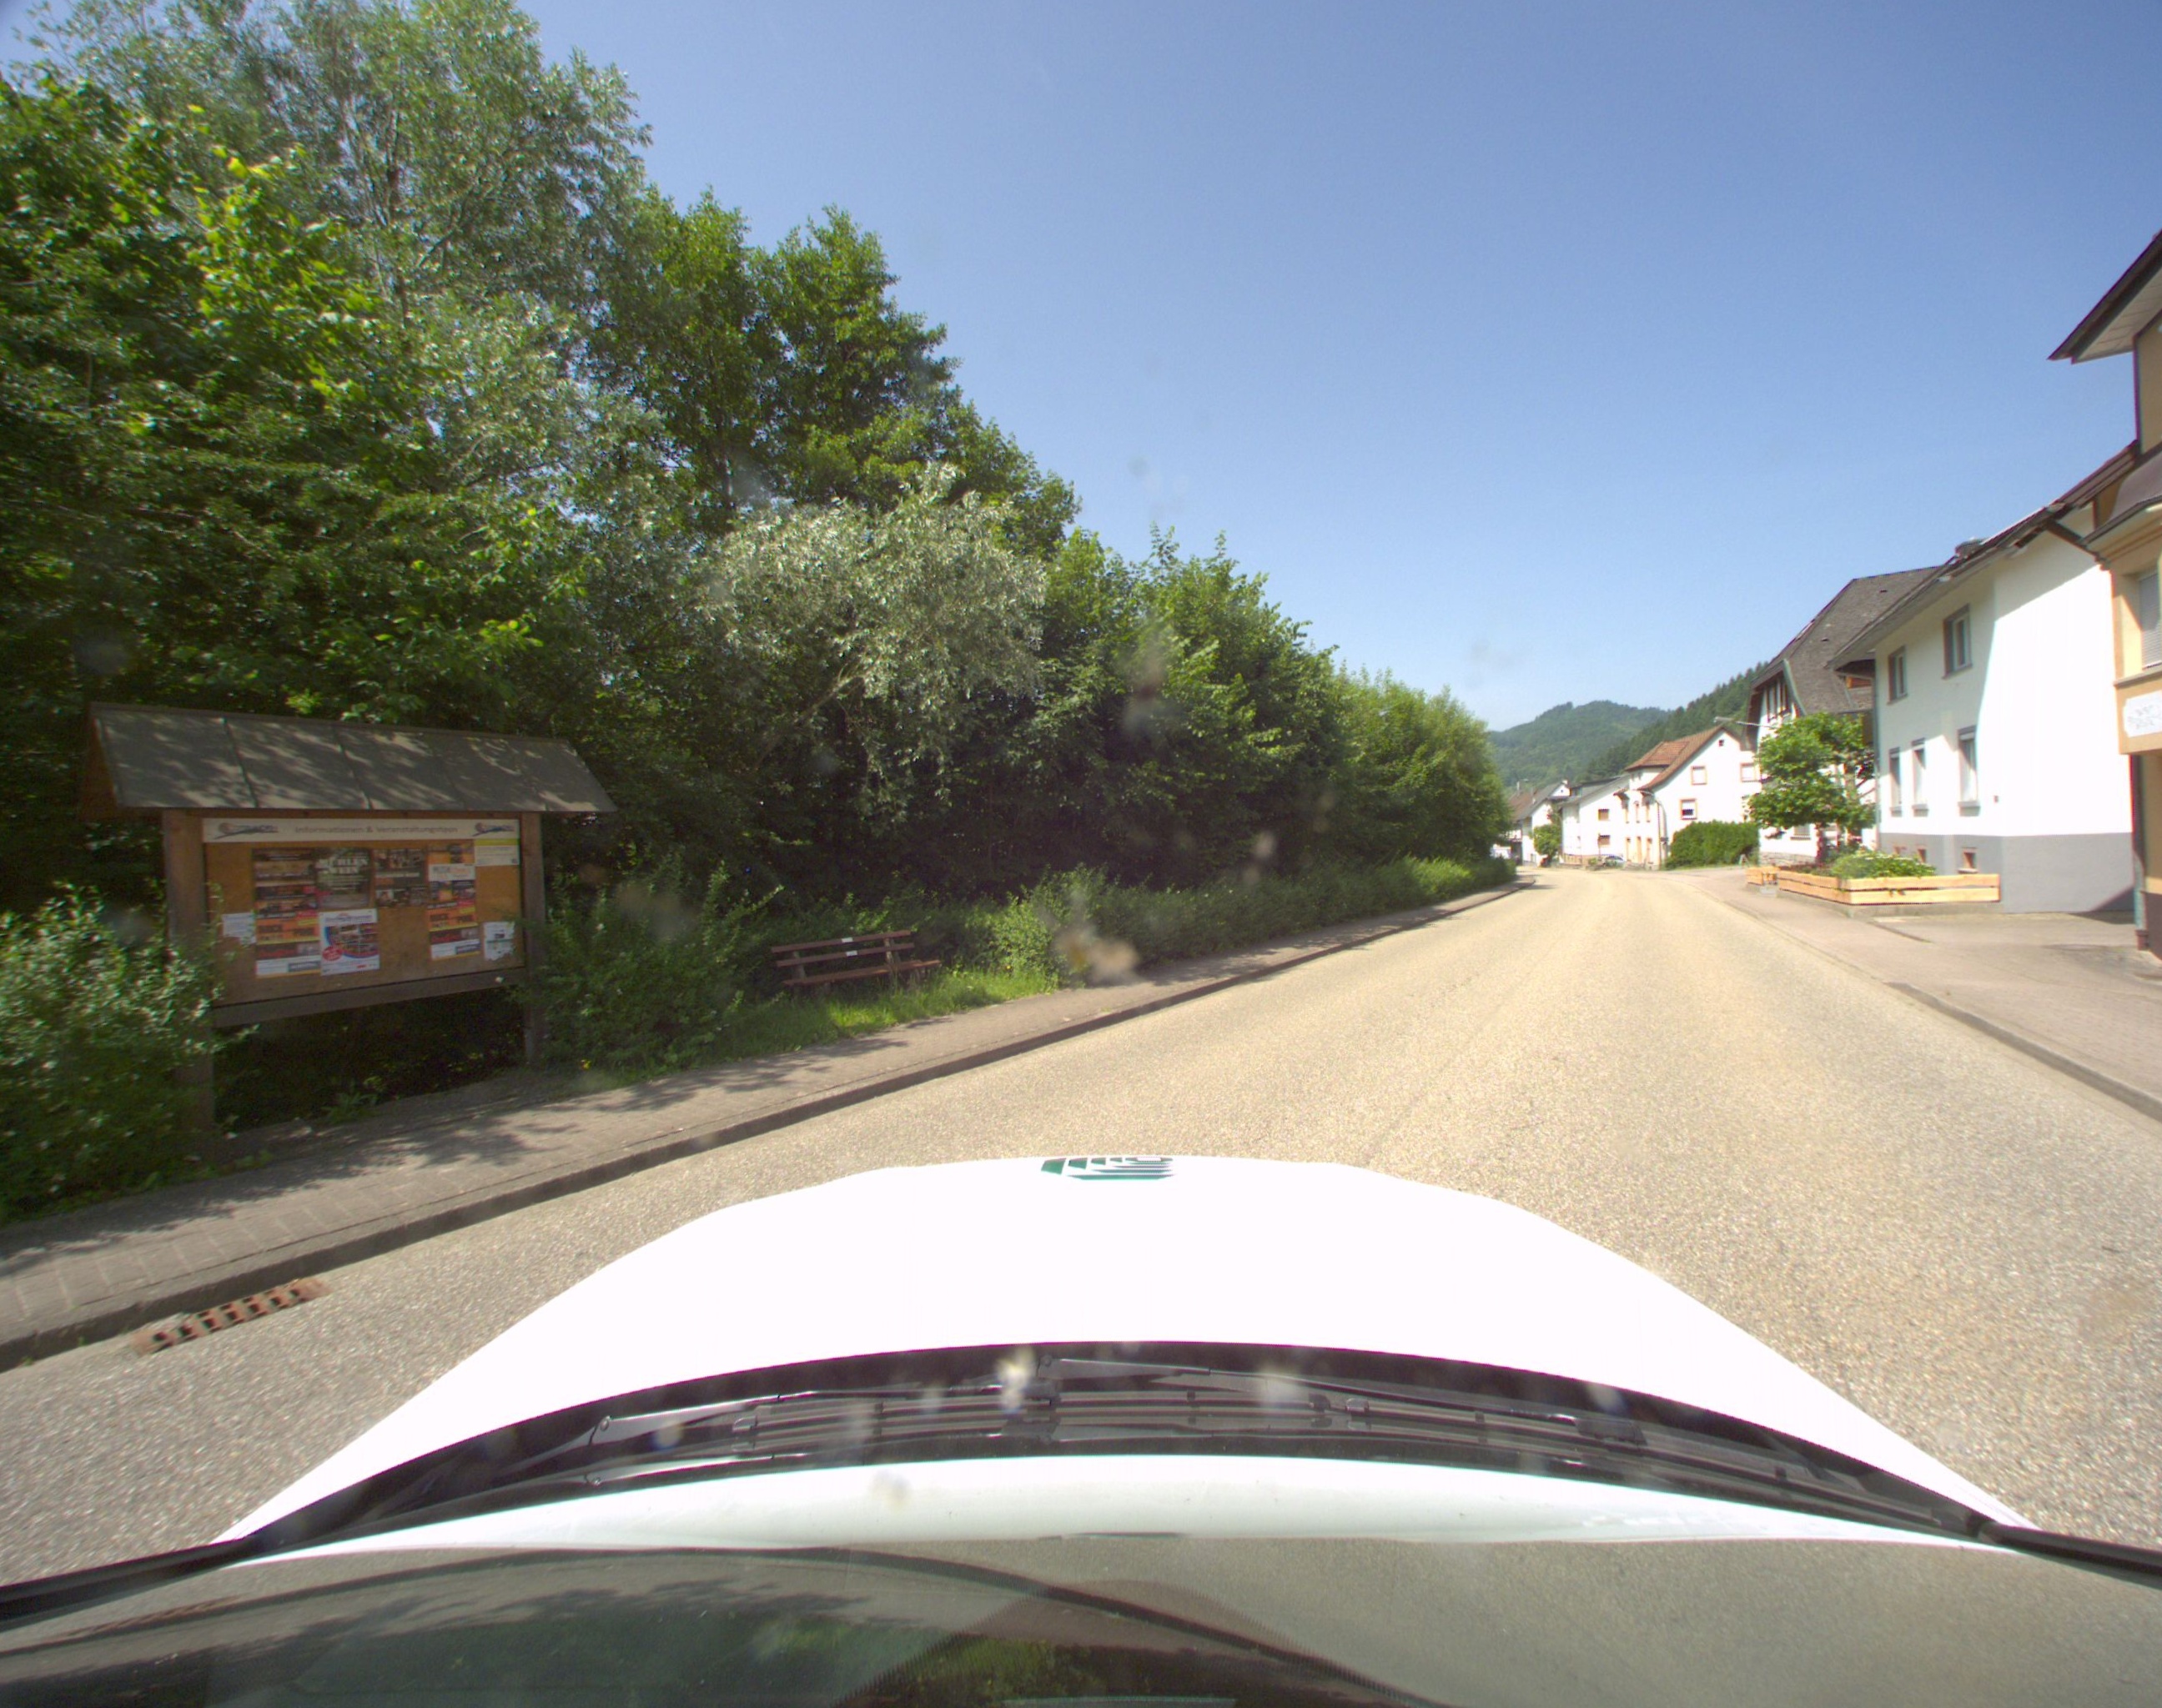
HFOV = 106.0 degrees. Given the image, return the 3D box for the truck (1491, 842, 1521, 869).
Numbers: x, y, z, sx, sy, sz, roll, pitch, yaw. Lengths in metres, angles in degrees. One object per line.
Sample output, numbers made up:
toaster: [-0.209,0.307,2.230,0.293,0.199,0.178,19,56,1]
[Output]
truck: [68.960,0.309,132.203,3.333,3.783,8.485,-6,-4,23]
